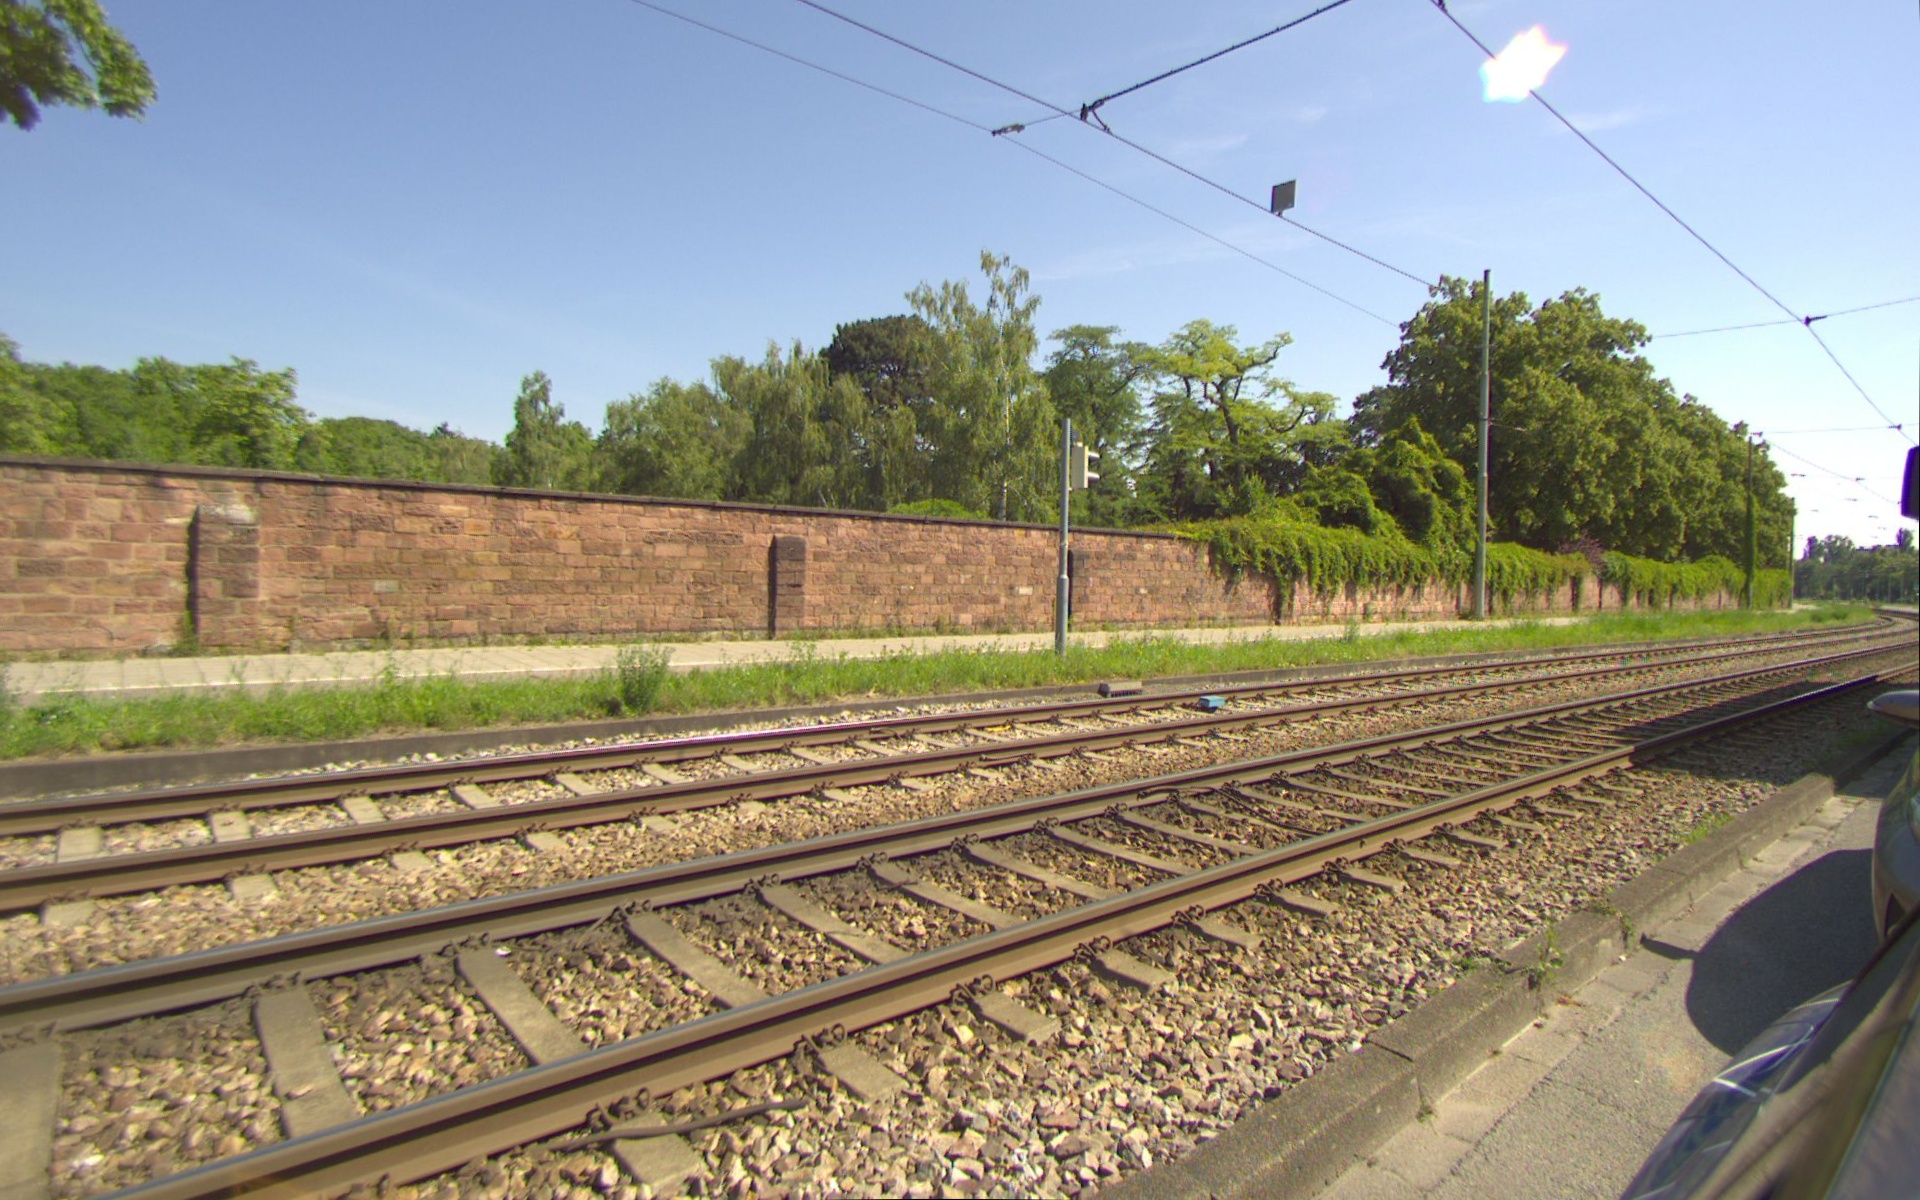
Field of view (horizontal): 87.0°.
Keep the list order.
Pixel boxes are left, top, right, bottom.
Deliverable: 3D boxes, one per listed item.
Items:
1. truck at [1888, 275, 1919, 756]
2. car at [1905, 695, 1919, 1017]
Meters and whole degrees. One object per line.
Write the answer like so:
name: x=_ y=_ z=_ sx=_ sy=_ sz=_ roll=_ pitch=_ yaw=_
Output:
truck: x=14.231 y=-0.643 z=12.056 sx=14.652 sy=3.927 sz=2.934 roll=0 pitch=2 yaw=-41
car: x=5.109 y=0.665 z=3.995 sx=3.930 sy=1.448 sz=1.573 roll=0 pitch=2 yaw=-41
